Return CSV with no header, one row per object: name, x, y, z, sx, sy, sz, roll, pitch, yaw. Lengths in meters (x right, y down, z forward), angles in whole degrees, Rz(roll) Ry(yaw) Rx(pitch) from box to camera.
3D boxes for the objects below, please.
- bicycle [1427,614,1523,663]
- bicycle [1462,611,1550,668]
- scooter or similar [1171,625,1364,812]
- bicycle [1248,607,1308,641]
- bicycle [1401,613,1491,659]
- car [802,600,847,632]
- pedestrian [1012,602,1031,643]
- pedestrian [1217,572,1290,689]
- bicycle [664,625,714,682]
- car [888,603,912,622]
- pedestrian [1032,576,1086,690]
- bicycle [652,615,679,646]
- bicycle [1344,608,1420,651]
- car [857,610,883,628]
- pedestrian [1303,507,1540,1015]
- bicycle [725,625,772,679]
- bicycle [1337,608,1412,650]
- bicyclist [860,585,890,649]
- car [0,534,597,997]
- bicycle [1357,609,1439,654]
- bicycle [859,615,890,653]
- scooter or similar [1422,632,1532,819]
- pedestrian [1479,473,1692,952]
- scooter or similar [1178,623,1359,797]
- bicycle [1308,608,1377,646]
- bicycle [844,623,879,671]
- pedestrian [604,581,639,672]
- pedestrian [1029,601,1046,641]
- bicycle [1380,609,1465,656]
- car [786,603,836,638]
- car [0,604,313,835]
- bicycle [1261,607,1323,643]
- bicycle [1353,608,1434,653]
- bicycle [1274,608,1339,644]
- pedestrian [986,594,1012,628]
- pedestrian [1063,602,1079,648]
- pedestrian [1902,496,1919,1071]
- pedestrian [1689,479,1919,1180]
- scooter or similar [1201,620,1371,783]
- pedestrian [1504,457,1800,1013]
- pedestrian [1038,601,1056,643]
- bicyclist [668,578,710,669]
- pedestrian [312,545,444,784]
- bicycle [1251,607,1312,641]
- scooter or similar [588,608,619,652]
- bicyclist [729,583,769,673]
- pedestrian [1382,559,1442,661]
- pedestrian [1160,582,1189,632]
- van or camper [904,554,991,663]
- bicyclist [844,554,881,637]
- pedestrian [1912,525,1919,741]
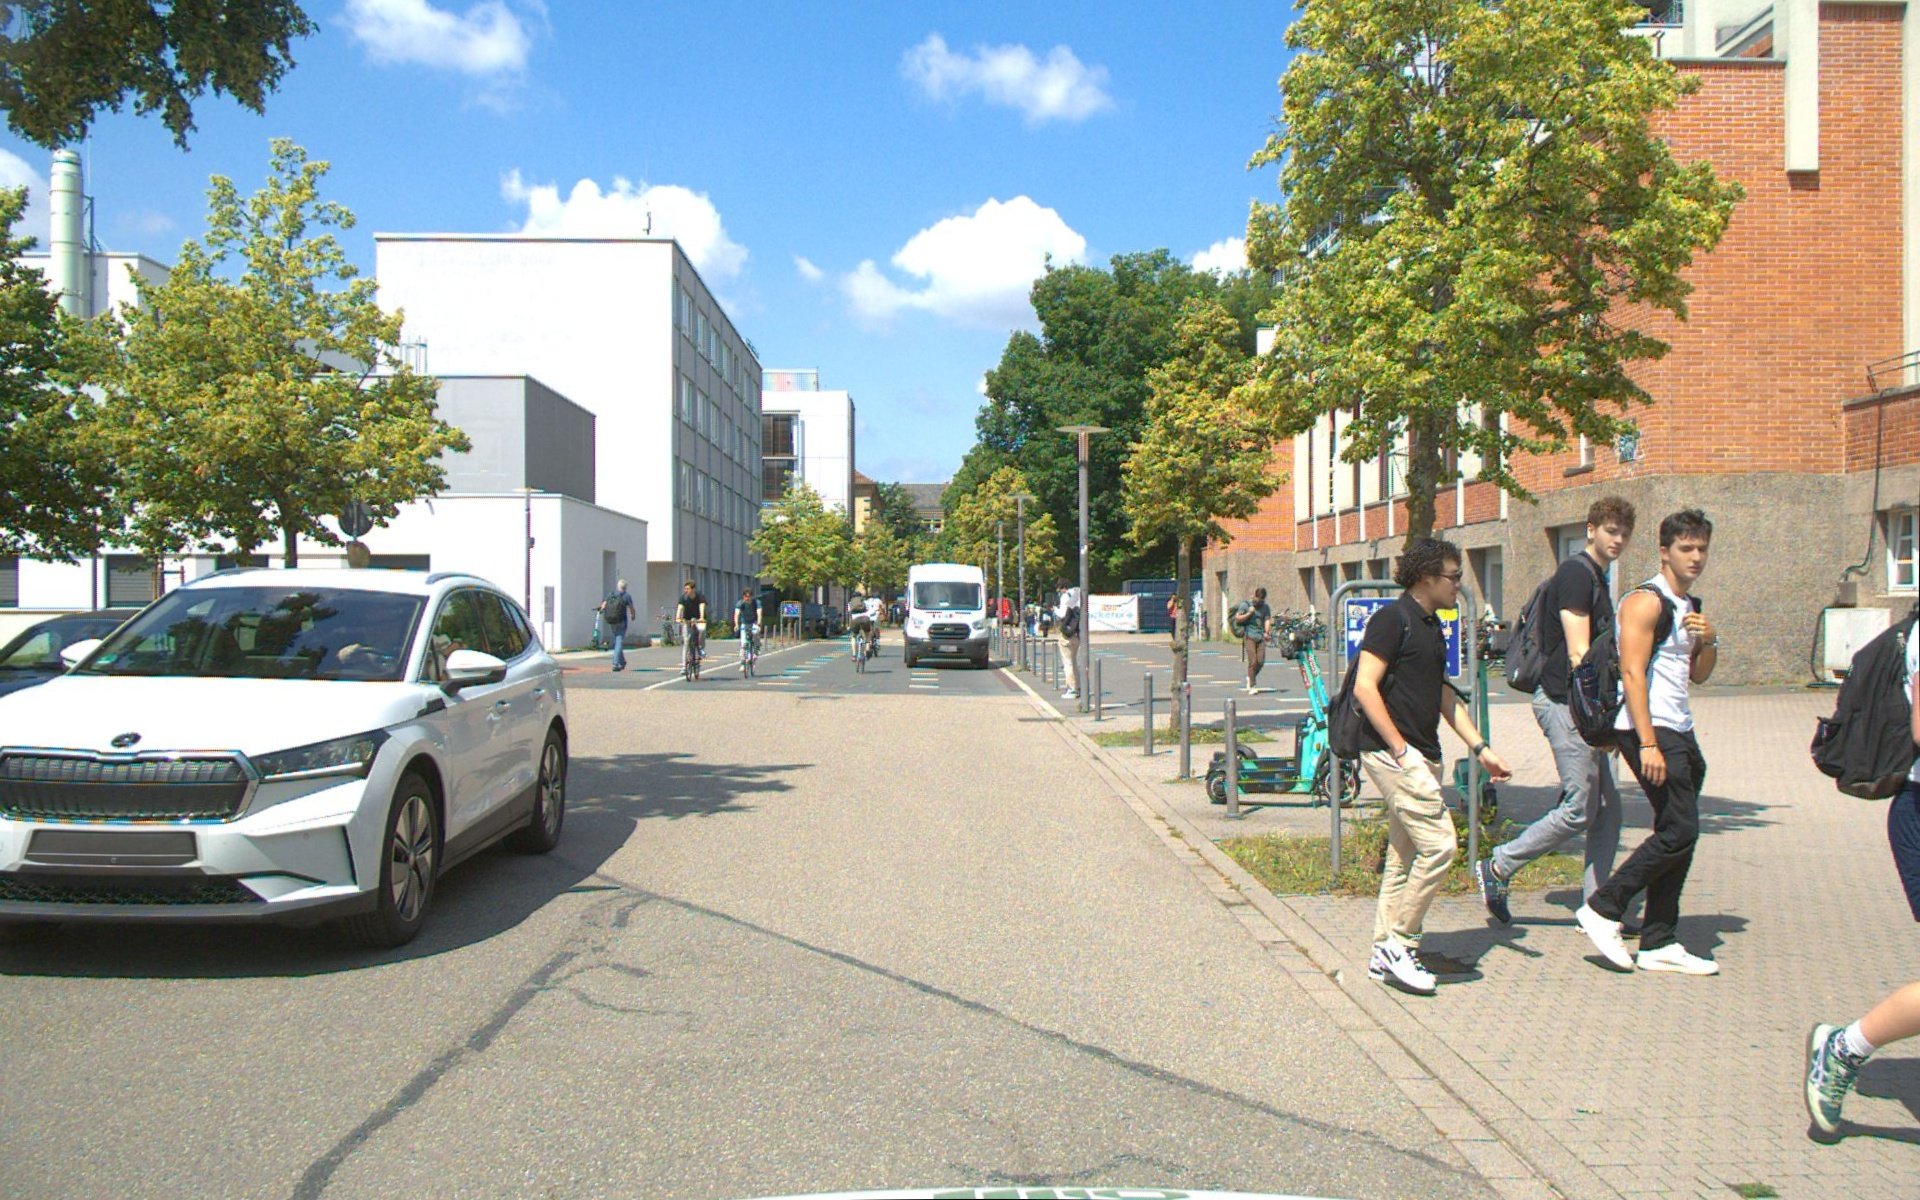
bicycle,10.551,0.786,33.883,1.773,0.928,0.560,-2,0,-2
bicycle,10.541,0.762,31.951,1.504,1.051,0.560,-1,0,-2
scooter or similar,2.255,0.840,12.151,1.237,1.287,0.649,-1,0,31
bicycle,10.147,0.763,52.835,1.773,1.002,0.560,-2,0,-2
bicycle,10.616,0.786,36.146,1.773,0.928,0.560,-2,0,-2
car,-6.907,0.817,84.405,1.758,1.557,4.001,-1,0,3
pedestrian,2.840,1.027,76.518,0.774,1.892,1.243,-1,0,0
pedestrian,4.569,0.464,25.811,0.836,1.763,1.159,-2,0,-4
bicycle,-4.953,0.962,30.318,0.663,0.982,2.002,1,0,-3
car,-5.171,1.063,142.891,1.758,1.557,4.001,-1,0,3
pedestrian,1.555,0.515,26.057,0.688,1.724,0.962,-3,-1,-1
bicycle,-9.760,0.999,54.844,0.512,1.002,1.633,-2,0,3
bicycle,10.727,0.746,42.063,1.773,1.002,0.560,-2,0,-2
car,-7.783,1.633,143.431,1.758,1.557,4.001,-1,0,3
pedestrian,1.803,0.574,6.405,0.784,1.803,0.855,-1,0,19
bicycle,-4.104,0.996,32.197,0.663,0.981,2.002,1,0,-1
bicycle,10.680,0.742,42.664,1.773,1.002,0.560,-2,0,-2
bicyclist,-2.469,0.487,48.291,0.755,1.786,0.848,3,1,-1
car,-3.234,0.644,8.334,1.879,1.647,4.518,2,-1,-2
bicycle,10.391,0.735,39.250,1.773,1.002,0.560,-2,0,-2
bicycle,-2.477,0.987,48.208,0.792,1.019,2.123,1,1,0
scooter or similar,3.540,0.829,11.401,0.635,1.181,1.265,-1,0,14
pedestrian,2.782,0.477,7.411,0.809,2.015,0.692,-1,0,19
scooter or similar,2.408,0.834,12.928,1.237,1.287,0.649,-1,0,31
bicycle,10.743,0.746,46.441,1.773,1.002,0.560,-2,0,-2
bicycle,-2.143,1.011,35.810,0.693,1.011,1.908,1,-2,-5
pedestrian,-6.878,0.541,33.585,0.655,1.817,0.981,0,-2,-14
pedestrian,3.733,1.023,79.841,0.774,1.892,1.026,-1,0,0
bicycle,10.599,0.740,37.909,1.773,1.002,0.560,-2,0,-2
car,-6.909,0.914,76.990,1.758,1.557,4.001,-1,0,3
car,-6.076,0.701,11.486,1.611,1.323,3.927,-1,0,0
bicycle,10.129,0.759,50.498,1.773,1.002,0.560,-2,0,-2
bicycle,10.409,0.732,39.760,1.773,1.002,0.560,-2,0,-2
bicycle,10.266,0.757,48.966,1.773,1.002,0.560,-2,0,-2
pedestrian,2.517,0.691,106.444,1.470,2.031,1.645,-3,1,-3
pedestrian,4.524,1.014,67.600,0.564,1.892,0.569,-1,0,-3
pedestrian,3.338,0.565,4.848,0.890,1.769,0.676,-2,0,36
pedestrian,2.603,0.578,4.474,0.965,1.769,0.697,-2,-1,38
scooter or similar,2.710,0.822,13.748,1.237,1.287,0.638,-1,0,31
pedestrian,2.712,0.496,6.523,0.610,2.015,0.819,0,-2,-32
pedestrian,4.010,1.021,76.292,0.774,1.892,1.026,-1,0,0
bicyclist,-4.958,0.420,30.297,0.630,1.629,0.908,-1,0,-3
pedestrian,-4.955,0.537,14.147,0.999,1.937,1.172,1,-1,-19
bicycle,10.149,0.756,52.218,1.773,1.002,0.560,-2,0,-2
scooter or similar,-10.233,0.850,47.500,0.369,1.237,1.206,-1,0,15
bicyclist,-4.116,0.540,32.304,0.654,1.711,0.992,-1,-1,-2
pedestrian,8.570,0.195,31.415,0.774,1.892,1.116,-1,0,-3
pedestrian,8.161,0.269,62.879,0.834,1.892,1.116,-1,0,22
van or camper,-0.325,0.241,40.433,1.953,2.489,4.568,1,-1,-1
bicyclist,-2.109,-0.086,35.642,0.703,1.691,1.094,-3,-2,-5
pedestrian,8.948,0.288,14.352,0.688,1.925,0.992,-2,0,-9
